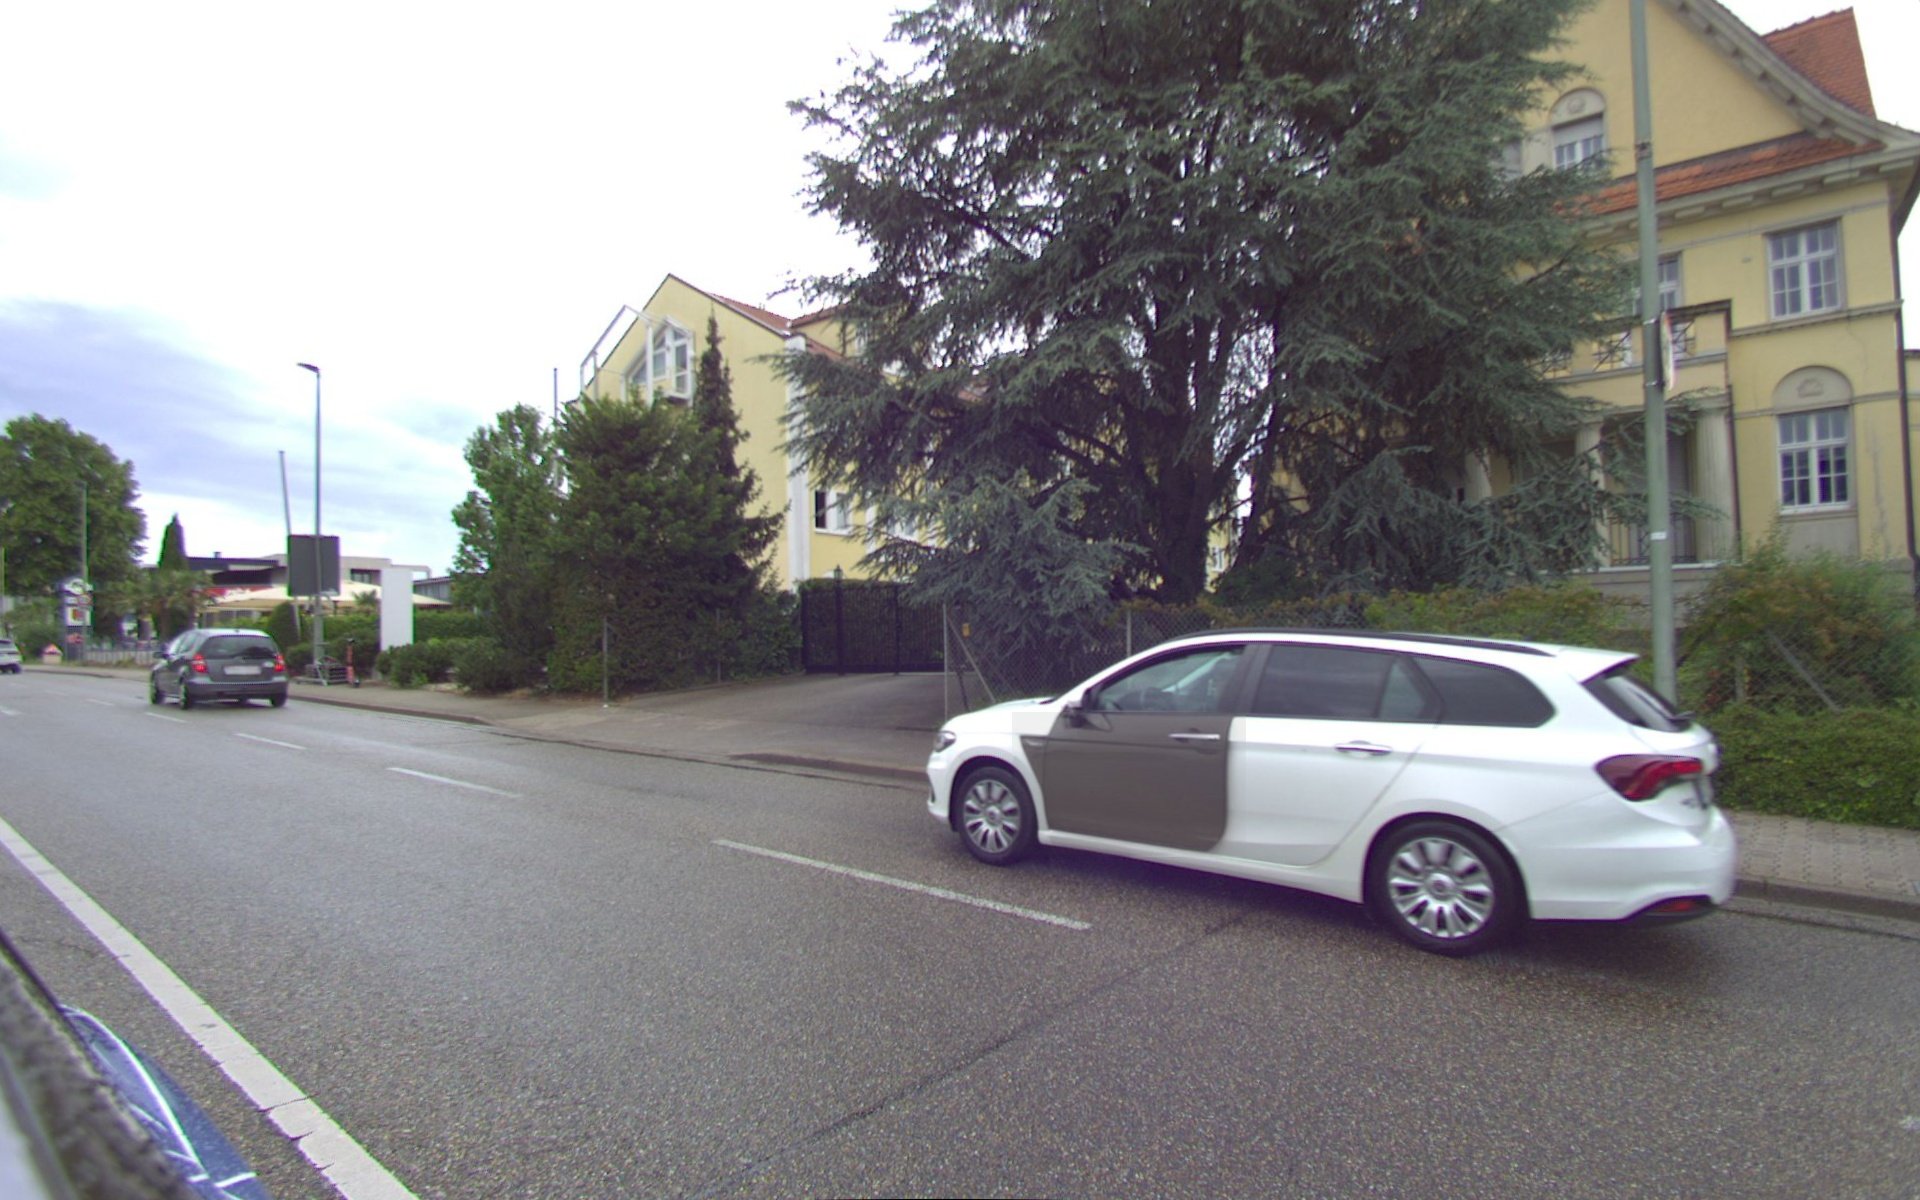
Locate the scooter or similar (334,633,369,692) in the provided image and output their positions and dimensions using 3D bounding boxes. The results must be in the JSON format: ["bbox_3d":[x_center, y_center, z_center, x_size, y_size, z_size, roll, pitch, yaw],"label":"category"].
[{"bbox_3d":[-15.309,1.550,25.455,0.498,1.416,1.884,1,-2,-39],"label":"scooter or similar"}]

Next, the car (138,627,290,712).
[{"bbox_3d":[-15.506,1.422,20.997,3.546,1.611,1.682,-3,-4,39],"label":"car"}]

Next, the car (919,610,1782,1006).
[{"bbox_3d":[2.001,0.866,5.921,4.305,1.465,1.947,-2,-4,40],"label":"car"}]

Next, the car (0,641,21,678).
[{"bbox_3d":[-39.810,2.409,41.115,4.426,1.471,1.768,-2,-3,39],"label":"car"}]
